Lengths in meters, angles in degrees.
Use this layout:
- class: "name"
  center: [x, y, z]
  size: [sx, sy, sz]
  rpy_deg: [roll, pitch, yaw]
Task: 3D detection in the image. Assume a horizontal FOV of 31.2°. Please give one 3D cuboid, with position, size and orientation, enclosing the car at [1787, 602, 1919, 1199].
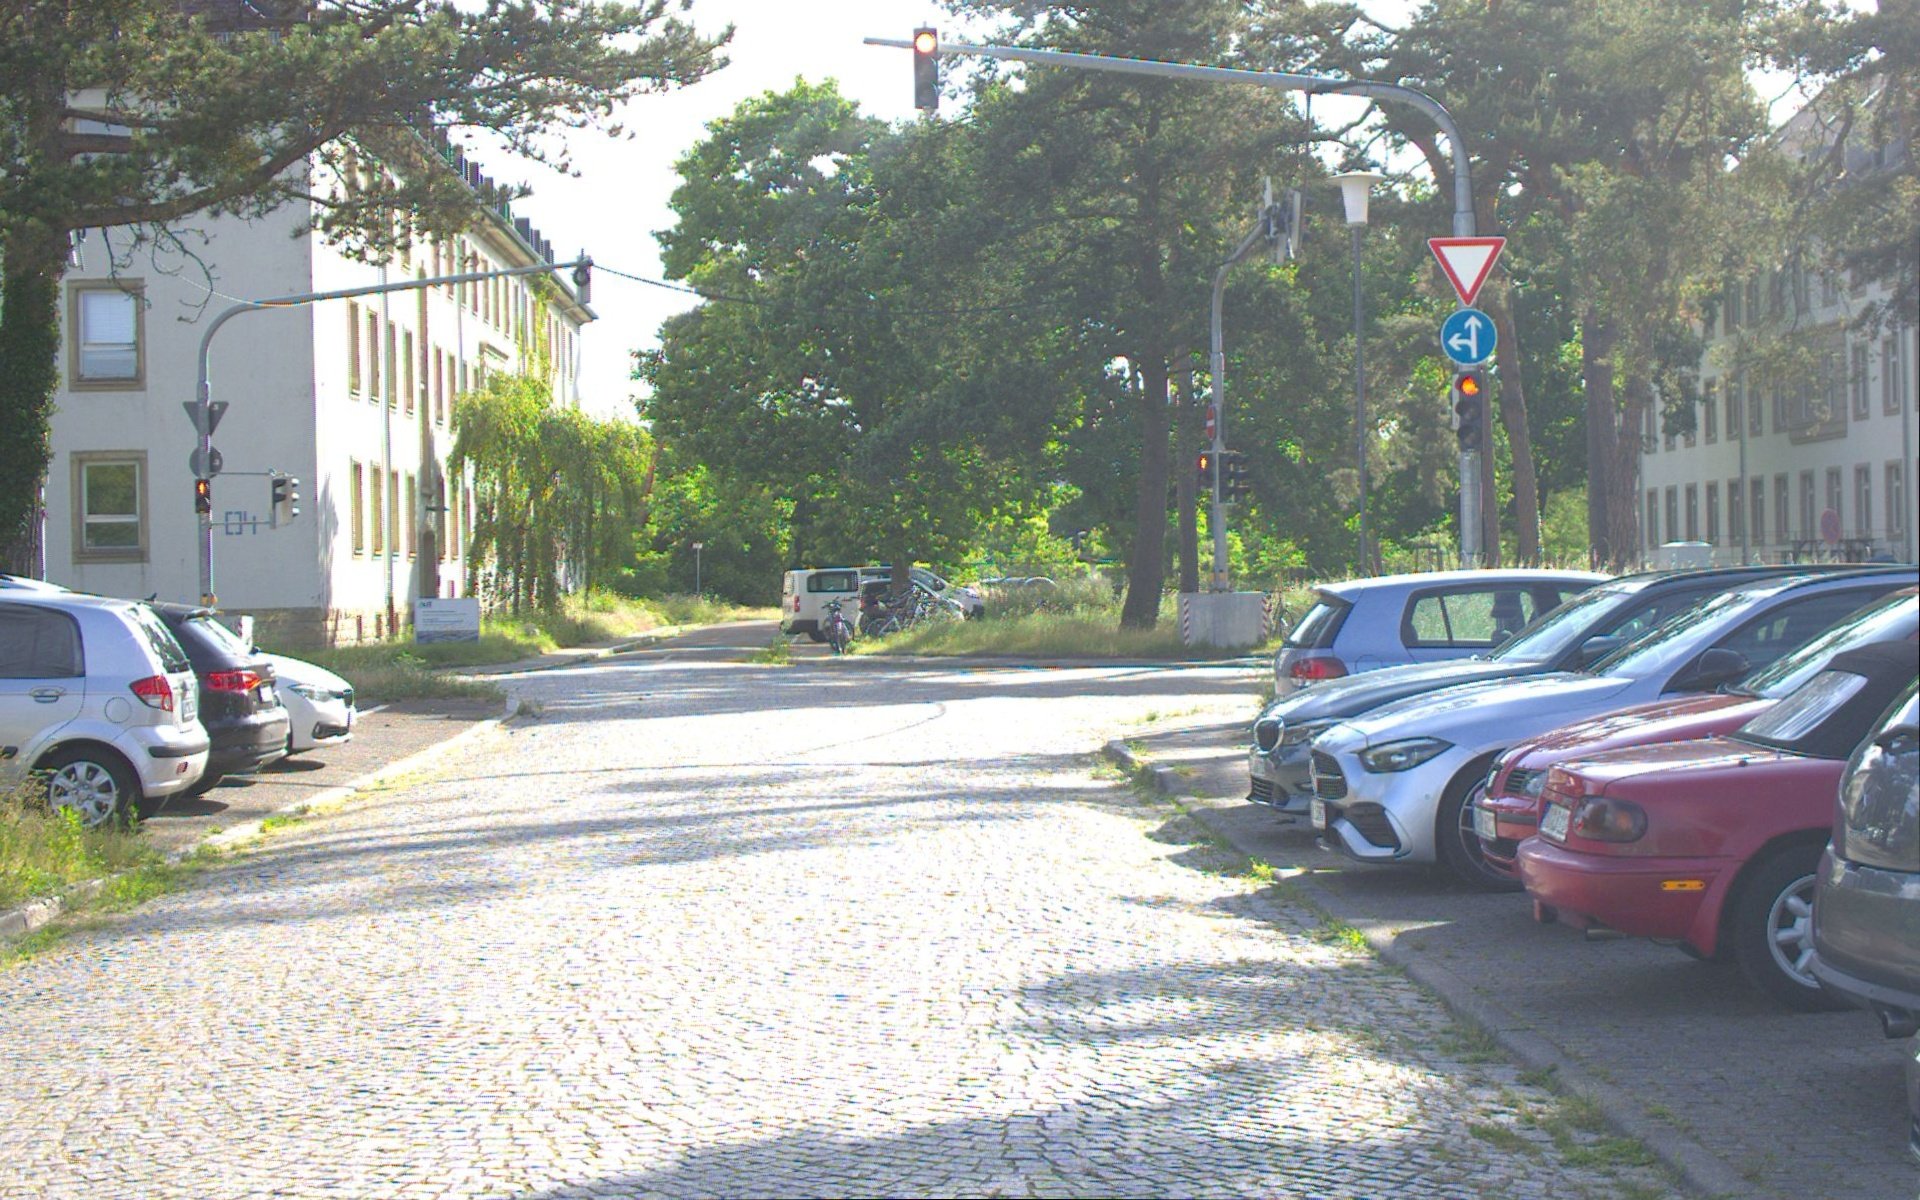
- class: "car"
  center: [3.759, 0.677, 6.852]
  size: [3.707, 1.444, 1.856]
  rpy_deg: [-2, 1, -1]

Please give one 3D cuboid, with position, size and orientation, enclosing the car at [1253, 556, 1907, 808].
- class: "car"
  center: [3.948, 0.503, 22.306]
  size: [3.882, 1.410, 1.637]
  rpy_deg: [-2, 1, -1]

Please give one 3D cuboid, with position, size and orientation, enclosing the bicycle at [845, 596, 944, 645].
- class: "bicycle"
  center: [-1.388, 0.434, 72.797]
  size: [2.004, 1.007, 0.632]
  rpy_deg: [1, 0, -9]

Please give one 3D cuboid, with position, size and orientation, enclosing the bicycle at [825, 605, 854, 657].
- class: "bicycle"
  center: [-2.367, 0.602, 67.500]
  size: [0.467, 1.007, 1.586]
  rpy_deg: [1, 0, -5]

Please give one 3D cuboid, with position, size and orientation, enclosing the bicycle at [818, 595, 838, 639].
- class: "bicycle"
  center: [-3.104, 0.392, 80.706]
  size: [0.417, 1.007, 1.483]
  rpy_deg: [1, 0, -1]

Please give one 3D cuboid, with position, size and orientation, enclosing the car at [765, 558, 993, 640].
- class: "car"
  center: [-2.103, -0.019, 89.054]
  size: [5.520, 2.007, 2.001]
  rpy_deg: [1, 0, -19]

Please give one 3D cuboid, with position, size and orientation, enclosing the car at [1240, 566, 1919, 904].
- class: "car"
  center: [3.692, 0.596, 16.806]
  size: [4.432, 1.410, 1.781]
  rpy_deg: [-2, 1, -1]

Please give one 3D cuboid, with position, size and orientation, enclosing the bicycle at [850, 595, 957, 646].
- class: "bicycle"
  center: [-1.170, 0.432, 71.088]
  size: [2.108, 1.007, 0.621]
  rpy_deg: [1, 0, -9]

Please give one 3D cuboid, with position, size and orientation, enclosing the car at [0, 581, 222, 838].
- class: "car"
  center: [-6.559, 0.620, 21.118]
  size: [3.745, 1.482, 1.646]
  rpy_deg: [1, 1, -4]

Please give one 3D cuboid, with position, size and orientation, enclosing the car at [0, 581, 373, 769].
- class: "car"
  center: [-7.246, 0.602, 29.038]
  size: [4.333, 1.463, 1.831]
  rpy_deg: [1, 1, -4]

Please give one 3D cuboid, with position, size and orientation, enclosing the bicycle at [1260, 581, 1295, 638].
- class: "bicycle"
  center: [5.449, 0.162, 59.119]
  size: [0.300, 0.957, 1.586]
  rpy_deg: [1, 0, -5]

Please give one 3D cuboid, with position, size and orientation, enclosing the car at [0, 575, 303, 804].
- class: "car"
  center: [-6.680, 0.575, 23.776]
  size: [3.986, 1.475, 1.803]
  rpy_deg: [1, 1, -4]

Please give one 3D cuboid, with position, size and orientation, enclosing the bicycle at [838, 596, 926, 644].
- class: "bicycle"
  center: [-1.693, 0.435, 74.547]
  size: [1.837, 1.007, 0.636]
  rpy_deg: [1, 0, -9]

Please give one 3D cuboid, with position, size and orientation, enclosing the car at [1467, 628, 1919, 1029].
- class: "car"
  center: [3.831, 0.726, 12.325]
  size: [3.707, 1.219, 1.746]
  rpy_deg: [-2, 1, -1]

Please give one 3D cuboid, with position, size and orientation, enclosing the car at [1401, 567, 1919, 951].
- class: "car"
  center: [4.090, 0.597, 14.695]
  size: [4.127, 1.444, 1.637]
  rpy_deg: [-2, 1, -1]

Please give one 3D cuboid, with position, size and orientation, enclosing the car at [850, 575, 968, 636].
- class: "car"
  center: [-1.274, 0.139, 85.564]
  size: [2.781, 1.462, 1.671]
  rpy_deg: [1, 0, -6]

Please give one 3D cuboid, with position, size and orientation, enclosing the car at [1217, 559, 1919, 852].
- class: "car"
  center: [3.836, 0.556, 19.524]
  size: [4.559, 1.410, 1.637]
  rpy_deg: [-2, 1, -1]

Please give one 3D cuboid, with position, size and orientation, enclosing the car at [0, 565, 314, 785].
- class: "car"
  center: [-7.197, 0.539, 26.685]
  size: [4.079, 1.588, 1.886]
  rpy_deg: [1, 1, -4]

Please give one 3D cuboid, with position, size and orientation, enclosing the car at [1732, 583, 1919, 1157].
- class: "car"
  center: [4.282, 0.629, 9.731]
  size: [3.707, 1.444, 1.816]
  rpy_deg: [-2, 1, -1]
